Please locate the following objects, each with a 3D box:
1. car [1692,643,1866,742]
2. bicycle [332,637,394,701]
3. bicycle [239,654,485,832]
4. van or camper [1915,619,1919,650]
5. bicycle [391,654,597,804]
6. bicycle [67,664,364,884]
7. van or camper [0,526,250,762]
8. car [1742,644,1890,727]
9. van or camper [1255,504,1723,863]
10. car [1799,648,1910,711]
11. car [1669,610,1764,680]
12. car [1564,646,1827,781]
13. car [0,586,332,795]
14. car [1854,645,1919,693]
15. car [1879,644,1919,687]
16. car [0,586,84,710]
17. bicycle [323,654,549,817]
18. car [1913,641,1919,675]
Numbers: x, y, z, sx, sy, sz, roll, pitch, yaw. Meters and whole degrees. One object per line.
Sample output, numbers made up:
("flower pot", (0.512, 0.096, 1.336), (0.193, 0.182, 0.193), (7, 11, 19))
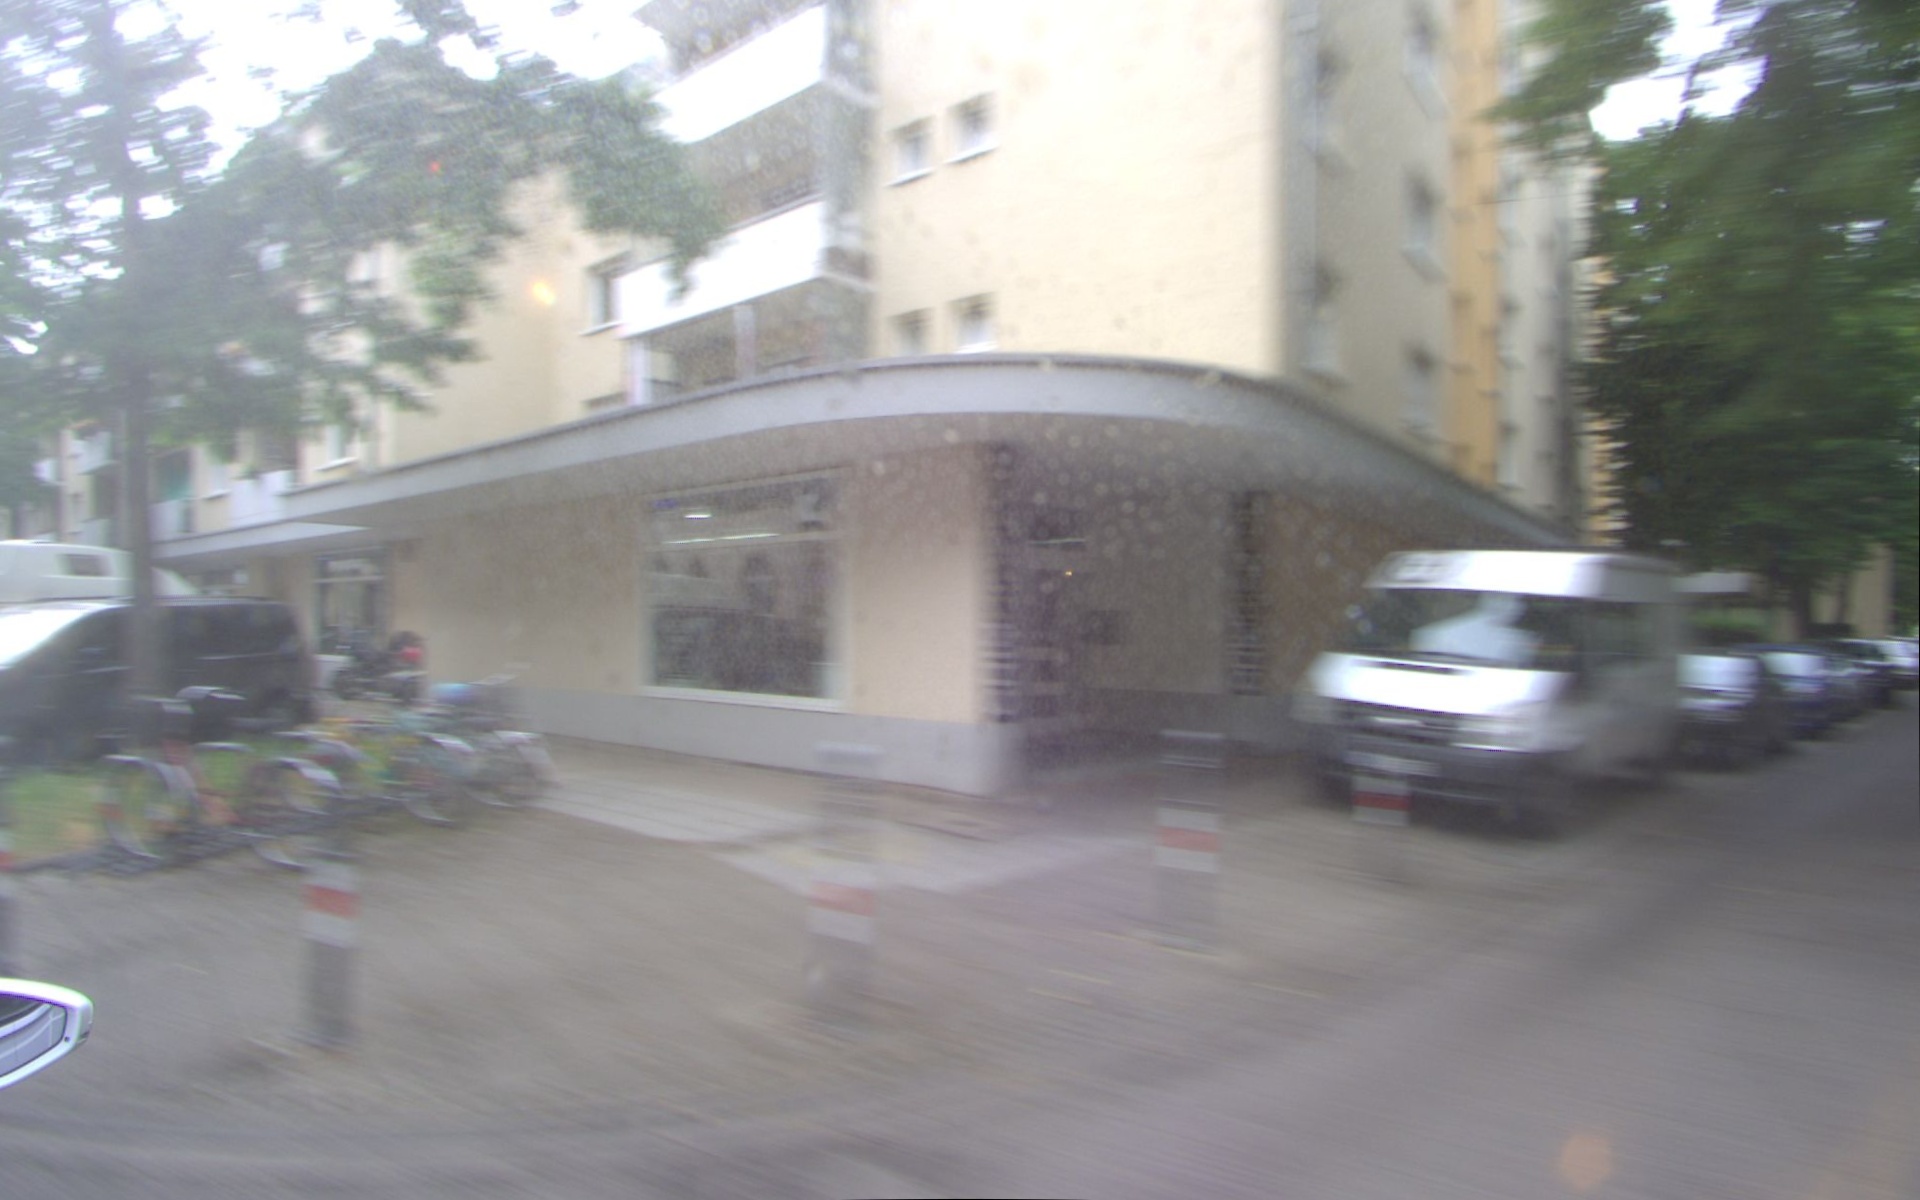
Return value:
("car", (14.085, 1.502, 17.168), (3.665, 1.447, 1.618), (1, -1, -39))
("bicycle", (-10.917, 1.242, 18.305), (1.681, 1.104, 0.482), (-1, -1, 42))
("bicycle", (-4.365, 1.002, 7.312), (1.697, 1.189, 0.549), (-1, -1, 18))
("van or camper", (96.894, 3.421, 97.775), (4.977, 3.074, 1.987), (0, -1, 37))
("bicycle", (-4.008, 1.077, 8.612), (1.667, 1.189, 0.549), (-1, -1, 18))
("bicycle", (-4.490, 0.997, 6.040), (1.697, 1.189, 0.549), (-1, -1, 18))
("van or camper", (-11.469, 0.513, 12.299), (1.874, 2.629, 4.597), (0, -1, 7))
("car", (17.455, 1.660, 20.359), (3.958, 1.436, 1.761), (1, -1, -41))
("van or camper", (5.406, 0.602, 9.746), (5.731, 2.528, 2.115), (1, 2, -43))
("car", (21.287, 1.861, 23.797), (3.483, 1.385, 1.497), (3, -4, -40))
("car", (23.844, 1.384, 31.524), (1.979, 2.039, 3.965), (0, -2, 43))
("car", (9.975, 1.388, 13.476), (4.134, 1.447, 1.891), (1, -1, -39))
("car", (-9.199, 0.846, 10.486), (1.875, 1.878, 4.343), (0, -1, 14))
("car", (28.598, 2.105, 30.554), (3.483, 1.385, 1.497), (3, -4, -40))
("car", (32.460, 2.185, 33.751), (3.486, 1.359, 1.647), (1, -1, -38))
("car", (-18.226, 0.837, 17.604), (2.027, 2.224, 4.399), (1, -1, -5))
("bicycle", (-4.166, 1.040, 7.961), (1.697, 1.189, 0.549), (-1, -1, 18))
("car", (41.440, 2.457, 42.197), (3.483, 1.385, 1.497), (3, -4, -40))
